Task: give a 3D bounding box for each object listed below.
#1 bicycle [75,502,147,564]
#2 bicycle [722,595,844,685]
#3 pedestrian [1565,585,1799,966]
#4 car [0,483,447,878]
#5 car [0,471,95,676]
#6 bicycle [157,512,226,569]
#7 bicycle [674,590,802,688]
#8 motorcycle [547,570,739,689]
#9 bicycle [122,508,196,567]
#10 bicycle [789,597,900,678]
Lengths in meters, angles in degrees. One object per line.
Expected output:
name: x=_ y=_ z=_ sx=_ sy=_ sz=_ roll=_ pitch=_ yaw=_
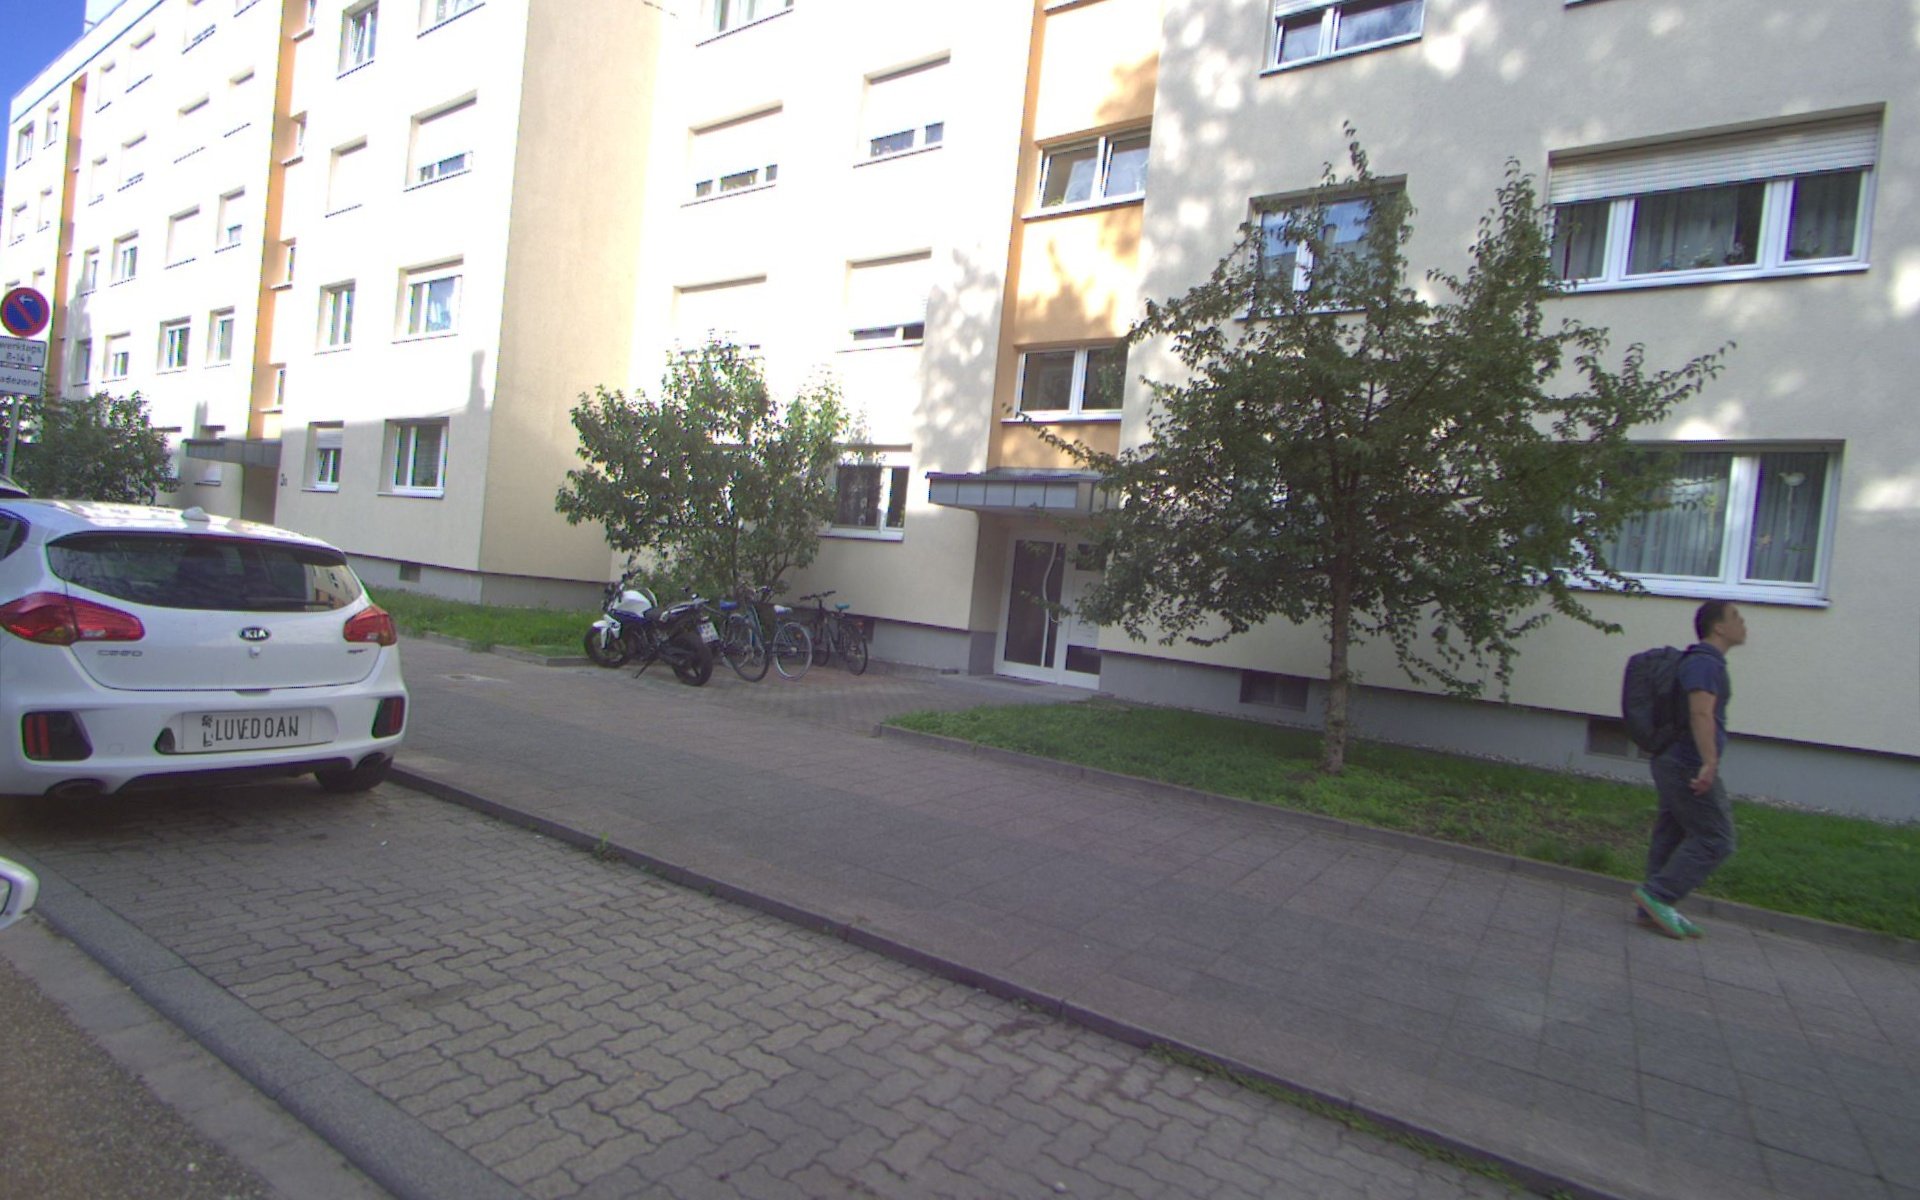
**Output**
bicycle: x=-18.674 y=-1.486 z=22.100 sx=2.173 sy=1.203 sz=0.596 roll=7 pitch=4 yaw=33
bicycle: x=-2.218 y=0.483 z=12.527 sx=1.492 sy=0.939 sz=0.458 roll=7 pitch=2 yaw=32
pedestrian: x=3.686 y=0.843 z=5.167 sx=0.760 sy=1.744 sz=0.541 roll=7 pitch=2 yaw=38
car: x=-5.066 y=0.143 z=5.763 sx=4.567 sy=1.507 sz=1.728 roll=6 pitch=2 yaw=34
car: x=-9.371 y=-0.401 z=8.674 sx=4.049 sy=1.601 sz=1.729 roll=6 pitch=2 yaw=32
bicycle: x=-17.752 y=-1.383 z=23.219 sx=2.173 sy=1.129 sz=0.529 roll=7 pitch=2 yaw=33
bicycle: x=-2.617 y=0.442 z=11.799 sx=1.492 sy=0.954 sz=0.458 roll=7 pitch=2 yaw=32
motorcycle: x=-3.615 y=0.301 z=11.357 sx=2.354 sy=1.058 sz=0.630 roll=7 pitch=3 yaw=32
bicycle: x=-18.089 y=-1.416 z=22.697 sx=2.173 sy=1.130 sz=0.597 roll=7 pitch=3 yaw=33
bicycle: x=-1.603 y=0.502 z=13.884 sx=1.492 sy=0.939 sz=0.458 roll=7 pitch=2 yaw=32
